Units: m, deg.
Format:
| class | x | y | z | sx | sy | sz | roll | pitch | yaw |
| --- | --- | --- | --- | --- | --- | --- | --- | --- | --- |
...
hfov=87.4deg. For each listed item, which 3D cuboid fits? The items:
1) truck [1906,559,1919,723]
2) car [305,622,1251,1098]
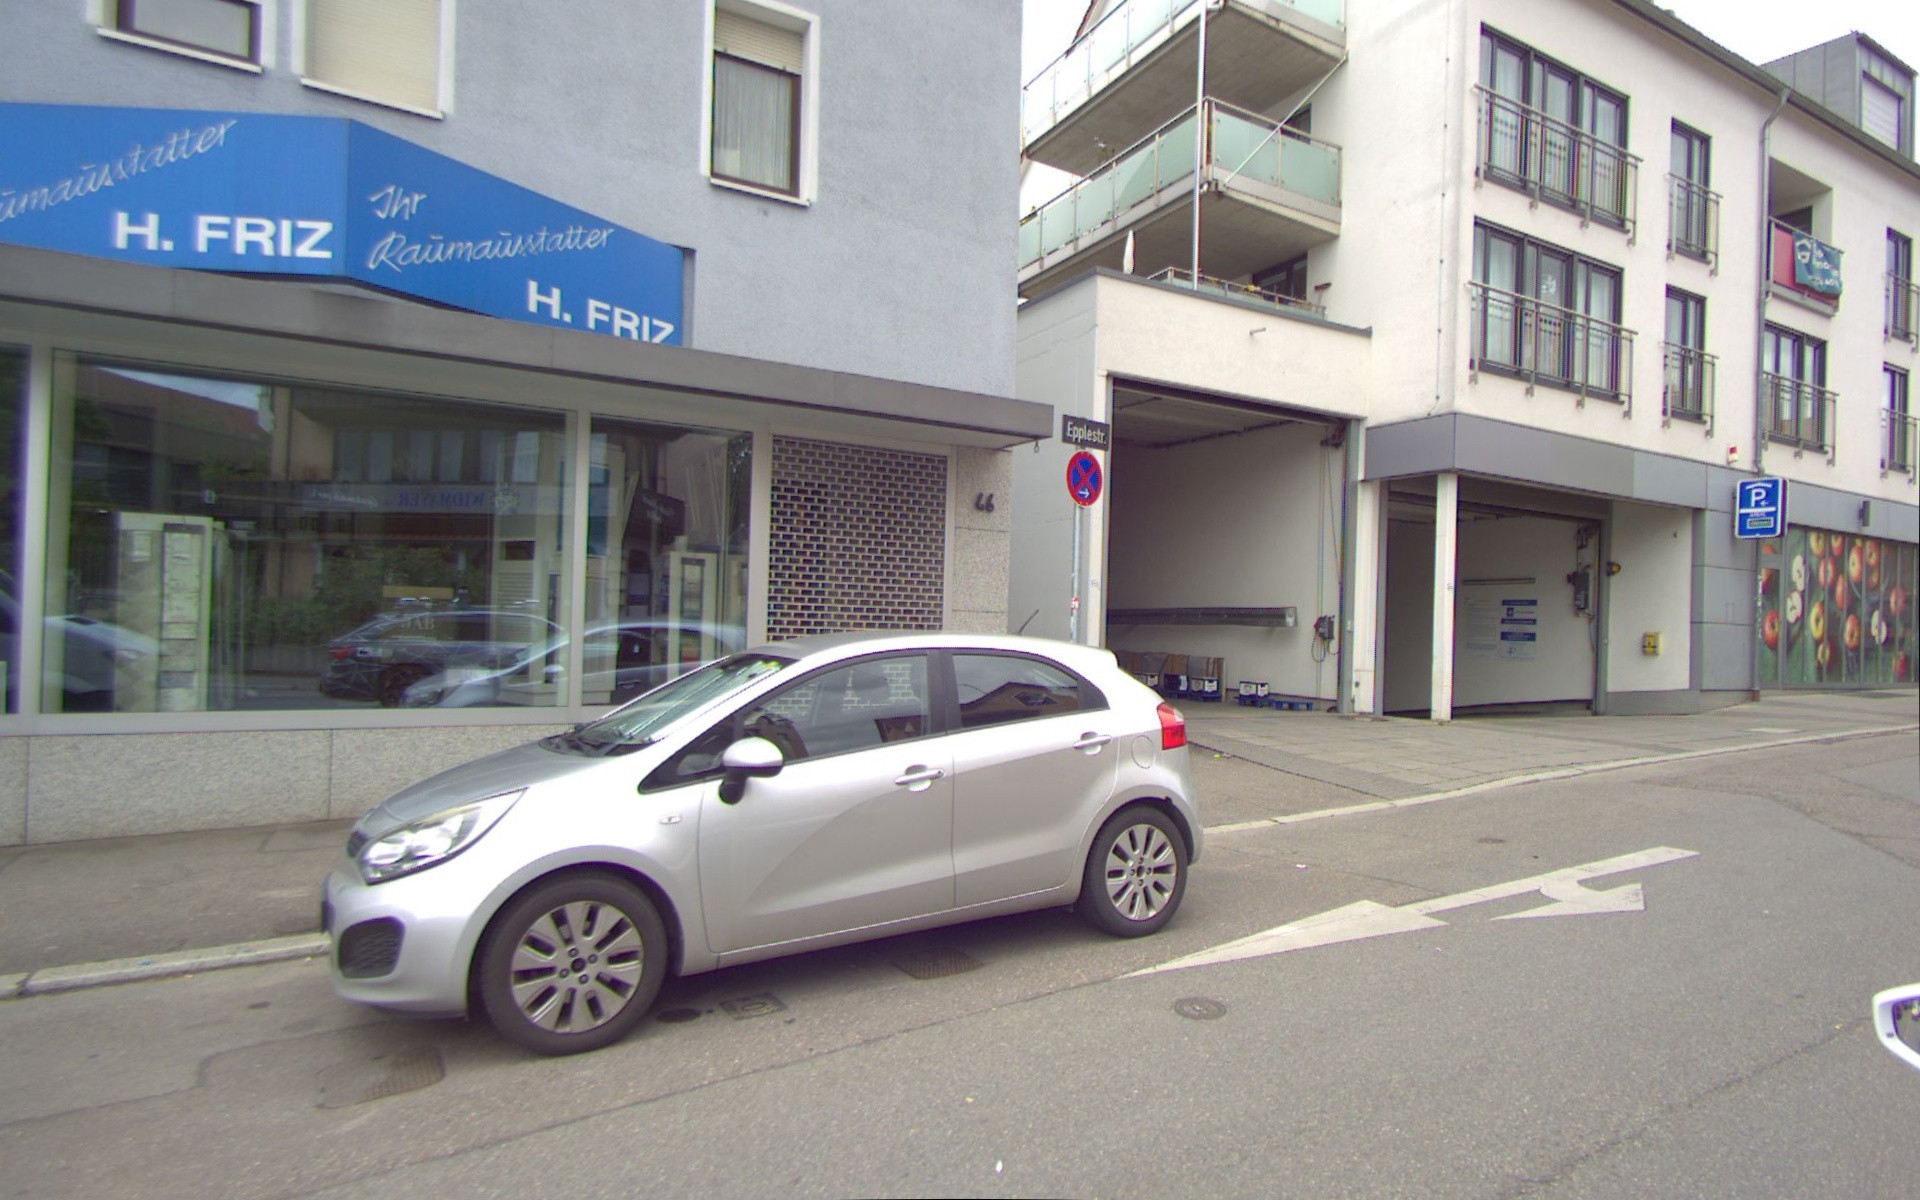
| class | x | y | z | sx | sy | sz | roll | pitch | yaw |
| --- | --- | --- | --- | --- | --- | --- | --- | --- | --- |
| truck | 17.831 | 0.641 | 15.955 | 6.232 | 2.498 | 2.402 | 1 | -1 | -30 |
| car | -0.689 | 0.823 | 4.802 | 3.952 | 1.430 | 1.789 | 1 | -1 | -30 |
